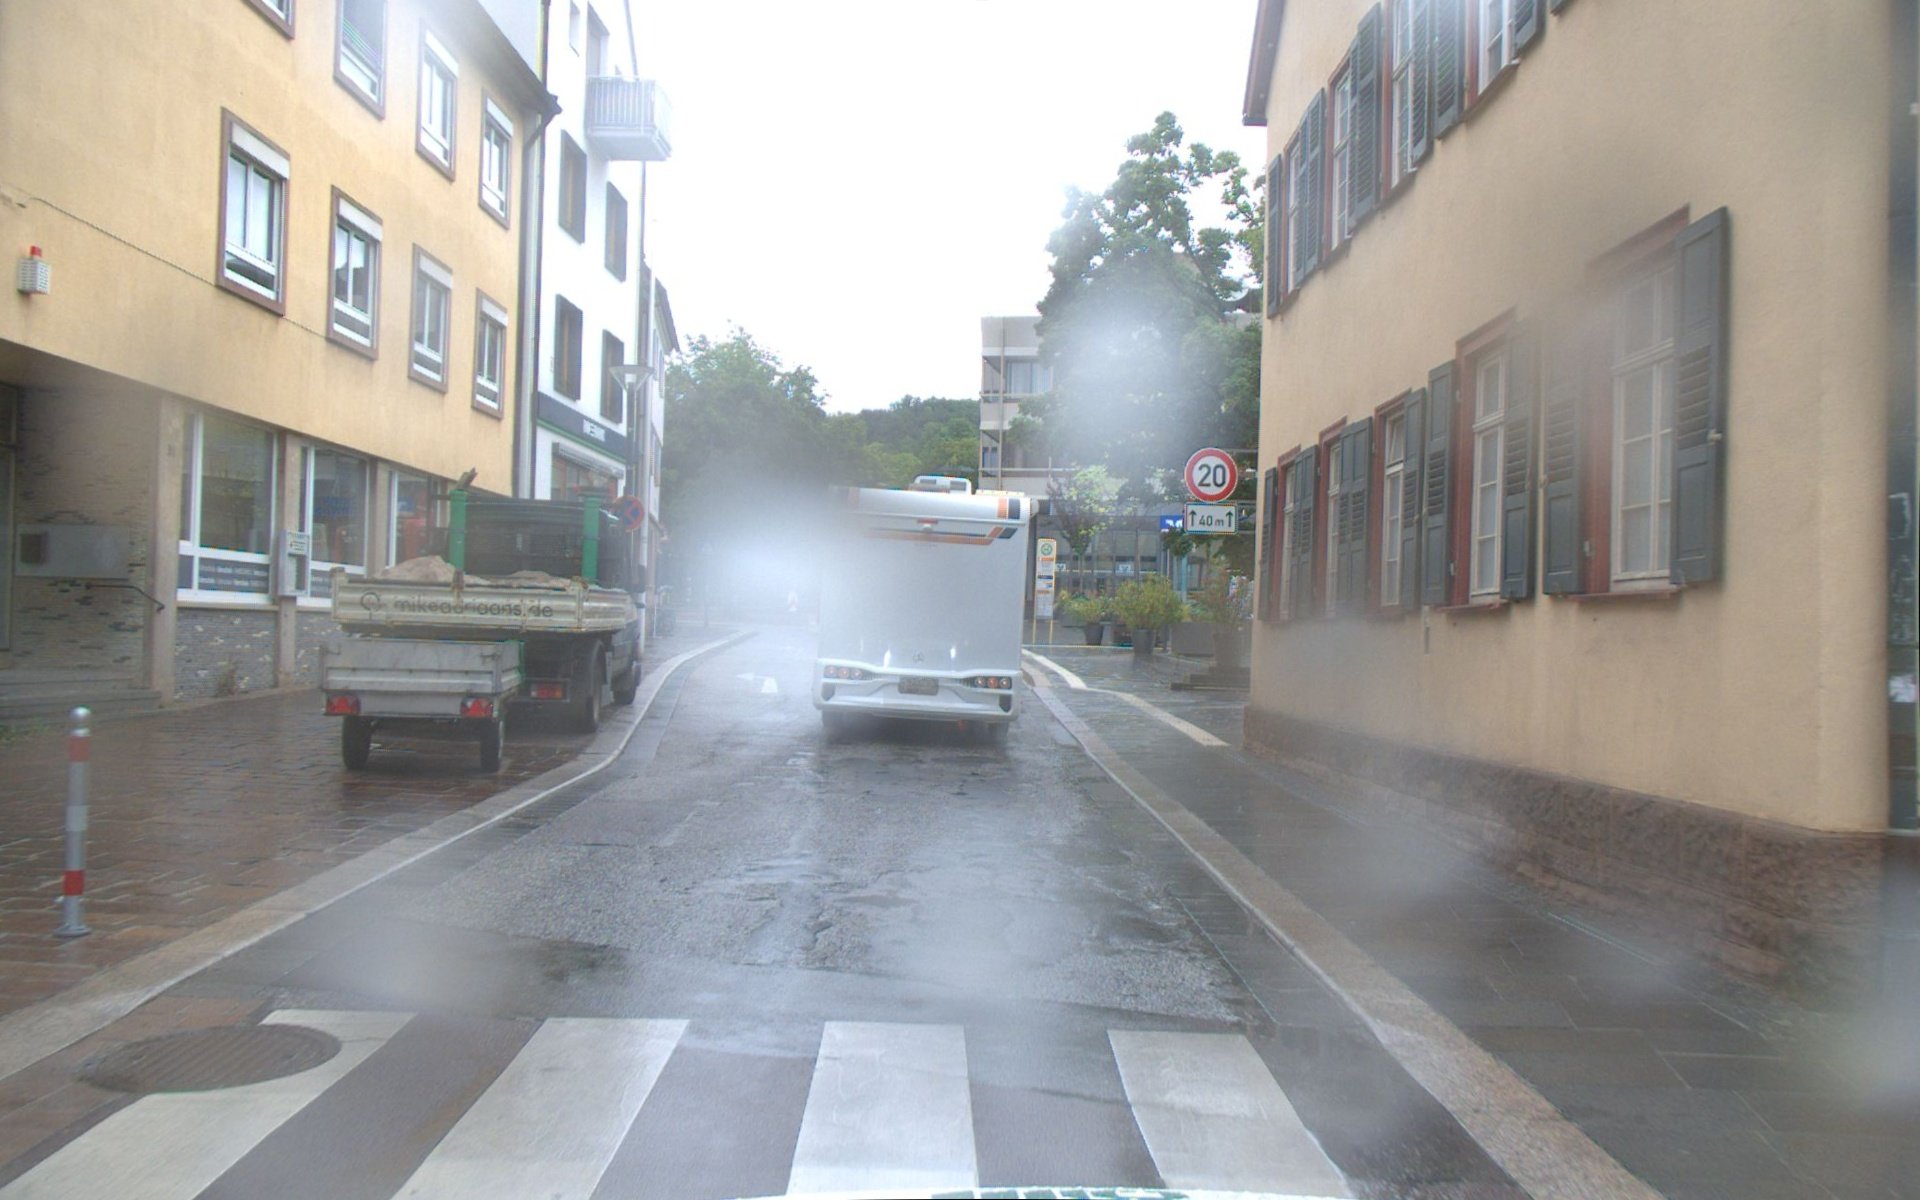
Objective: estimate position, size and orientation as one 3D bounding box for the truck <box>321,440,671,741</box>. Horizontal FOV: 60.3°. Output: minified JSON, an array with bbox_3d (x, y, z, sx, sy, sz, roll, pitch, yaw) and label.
[{"bbox_3d":[-4.708,-0.192,18.019,2.352,2.639,6.479,1,2,-4],"label":"truck"}]

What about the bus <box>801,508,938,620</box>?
[{"bbox_3d":[-3.075,-0.987,52.743,2.970,3.201,10.118,0,-1,-11],"label":"bus"}]

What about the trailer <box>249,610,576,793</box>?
[{"bbox_3d":[-4.243,0.740,13.285,1.816,1.144,3.017,1,2,-5],"label":"trailer"}]

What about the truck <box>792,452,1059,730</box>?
[{"bbox_3d":[-0.508,-0.071,20.083,2.750,2.846,6.102,0,-1,-3],"label":"truck"}]
